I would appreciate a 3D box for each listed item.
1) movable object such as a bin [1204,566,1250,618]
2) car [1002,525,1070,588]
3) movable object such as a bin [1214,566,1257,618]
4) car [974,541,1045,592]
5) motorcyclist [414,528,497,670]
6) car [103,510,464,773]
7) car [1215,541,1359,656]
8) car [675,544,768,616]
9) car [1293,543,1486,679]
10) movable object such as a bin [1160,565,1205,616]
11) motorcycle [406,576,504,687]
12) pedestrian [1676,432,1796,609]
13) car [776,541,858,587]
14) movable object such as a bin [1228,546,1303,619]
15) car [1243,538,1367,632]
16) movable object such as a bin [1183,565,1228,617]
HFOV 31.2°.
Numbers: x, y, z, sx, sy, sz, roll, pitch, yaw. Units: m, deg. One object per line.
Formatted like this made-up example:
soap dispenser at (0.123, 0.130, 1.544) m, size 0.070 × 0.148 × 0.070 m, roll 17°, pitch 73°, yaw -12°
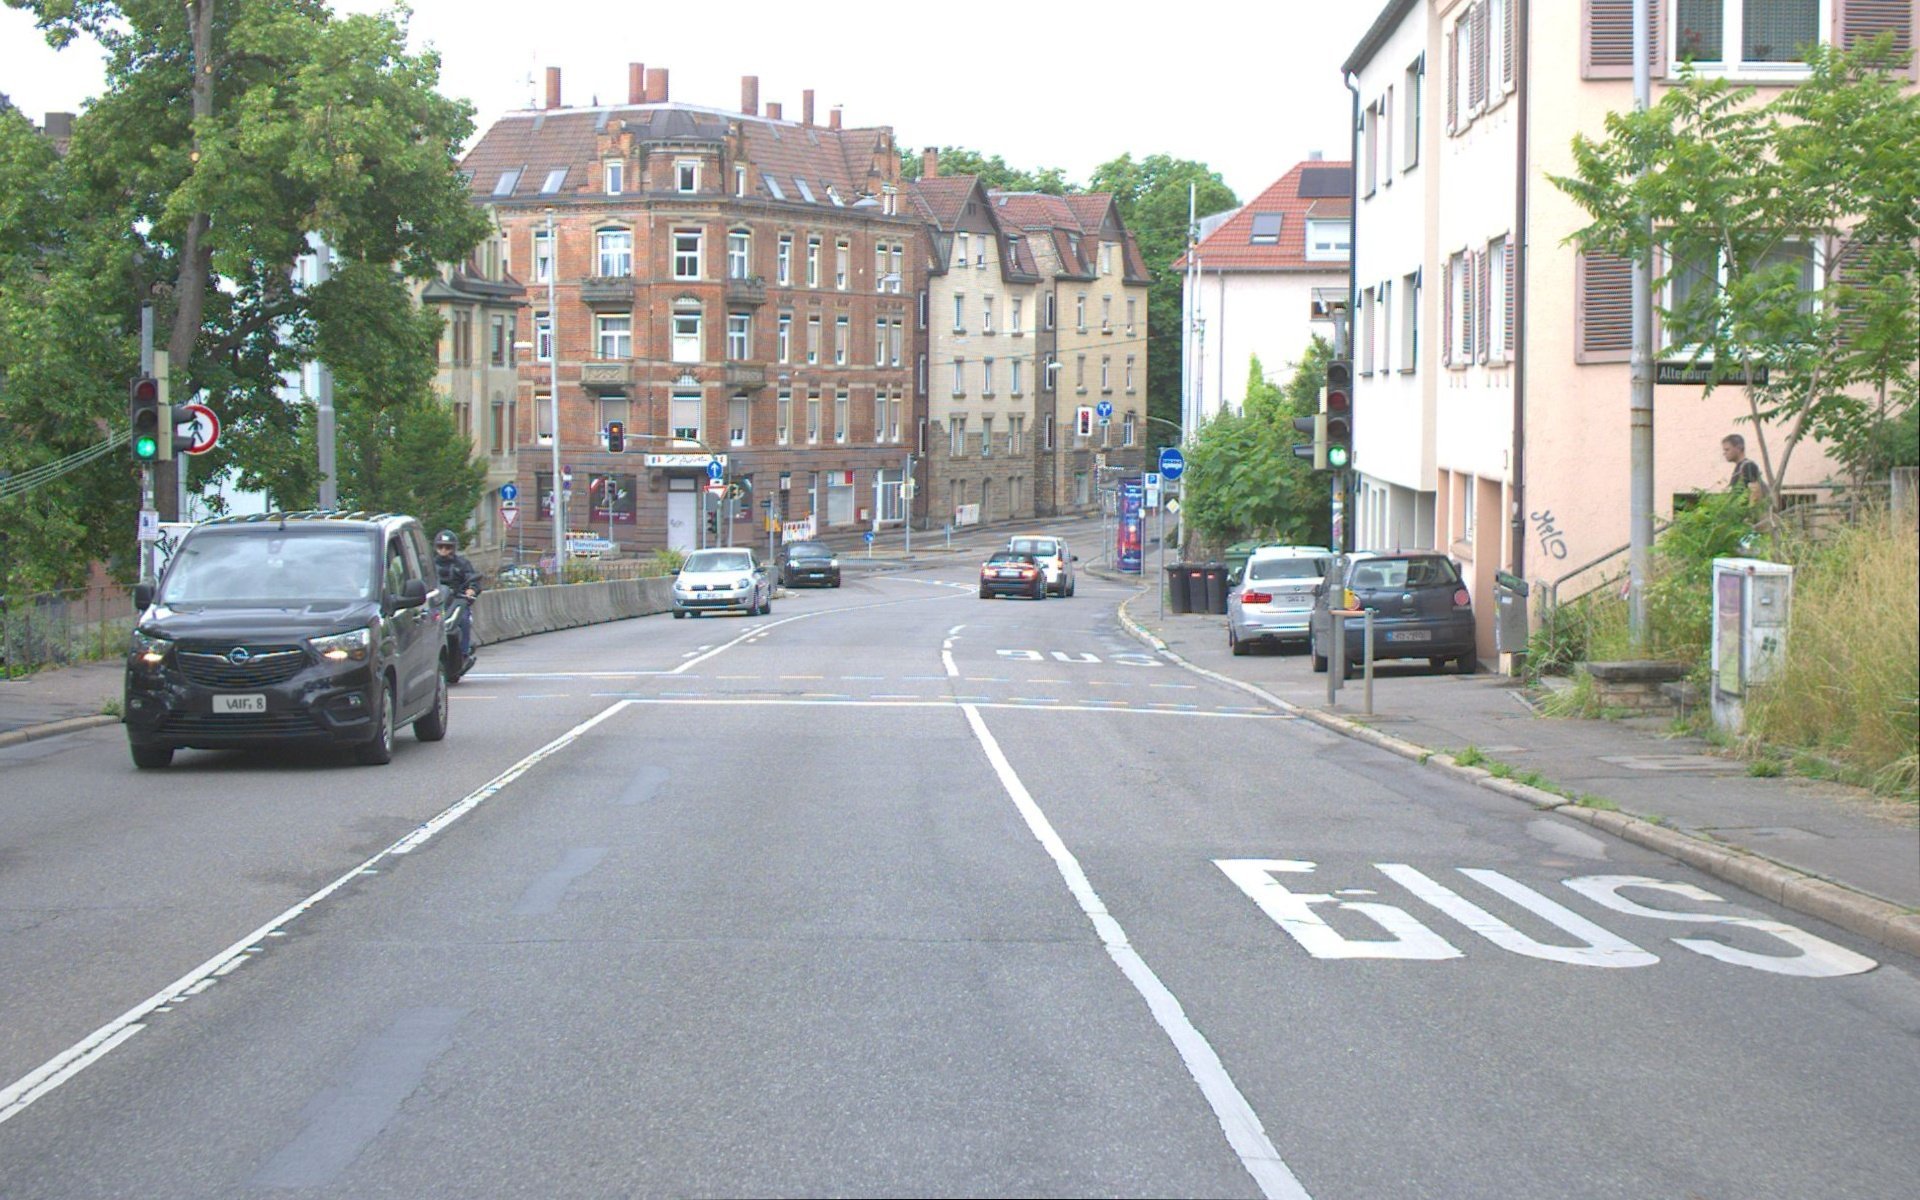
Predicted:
movable object such as a bin at (5.450, -0.171, 70.165) m, size 0.742 × 1.055 × 0.679 m, roll 0°, pitch 0°, yaw -15°
car at (2.416, -1.363, 108.046) m, size 1.909 × 1.877 × 4.000 m, roll 2°, pitch 1°, yaw 4°
movable object such as a bin at (5.565, -0.166, 69.463) m, size 0.709 × 1.055 × 0.547 m, roll 0°, pitch 0°, yaw -15°
car at (1.479, -1.003, 101.035) m, size 1.817 × 1.425 × 4.000 m, roll 2°, pitch 1°, yaw 4°
motorcyclist at (-5.470, -0.017, 37.322) m, size 0.785 × 1.511 × 0.668 m, roll -1°, pitch 1°, yaw -1°
car at (-4.854, 0.248, 25.263) m, size 1.784 × 1.740 × 4.429 m, roll -1°, pitch 1°, yaw 0°
car at (4.688, -0.059, 49.755) m, size 1.794 × 1.446 × 4.718 m, roll -3°, pitch 1°, yaw 3°
car at (-5.016, -0.447, 72.831) m, size 1.720 × 1.440 × 4.159 m, roll -1°, pitch 1°, yaw -1°
car at (5.043, 0.110, 40.839) m, size 1.681 × 1.446 × 4.000 m, roll -3°, pitch 0°, yaw 0°
movable object such as a bin at (4.644, -0.195, 71.699) m, size 0.742 × 1.055 × 0.679 m, roll 0°, pitch 0°, yaw -15°
motorcycle at (-5.466, 0.325, 37.302) m, size 0.785 × 1.141 × 2.057 m, roll -1°, pitch 1°, yaw -1°
pedestrian at (7.589, -0.772, 33.647) m, size 0.887 × 1.690 × 0.873 m, roll 2°, pitch 0°, yaw -4°
car at (-5.090, -1.301, 122.981) m, size 1.983 × 1.569 × 4.373 m, roll -1°, pitch 1°, yaw 11°
movable object such as a bin at (6.048, -0.348, 68.184) m, size 1.047 × 1.440 × 1.419 m, roll 0°, pitch 0°, yaw -15°
car at (5.505, -0.260, 55.237) m, size 1.794 × 1.418 × 4.004 m, roll -1°, pitch 1°, yaw 3°
movable object such as a bin at (5.079, -0.188, 71.029) m, size 0.742 × 1.055 × 0.679 m, roll 0°, pitch 0°, yaw -15°
